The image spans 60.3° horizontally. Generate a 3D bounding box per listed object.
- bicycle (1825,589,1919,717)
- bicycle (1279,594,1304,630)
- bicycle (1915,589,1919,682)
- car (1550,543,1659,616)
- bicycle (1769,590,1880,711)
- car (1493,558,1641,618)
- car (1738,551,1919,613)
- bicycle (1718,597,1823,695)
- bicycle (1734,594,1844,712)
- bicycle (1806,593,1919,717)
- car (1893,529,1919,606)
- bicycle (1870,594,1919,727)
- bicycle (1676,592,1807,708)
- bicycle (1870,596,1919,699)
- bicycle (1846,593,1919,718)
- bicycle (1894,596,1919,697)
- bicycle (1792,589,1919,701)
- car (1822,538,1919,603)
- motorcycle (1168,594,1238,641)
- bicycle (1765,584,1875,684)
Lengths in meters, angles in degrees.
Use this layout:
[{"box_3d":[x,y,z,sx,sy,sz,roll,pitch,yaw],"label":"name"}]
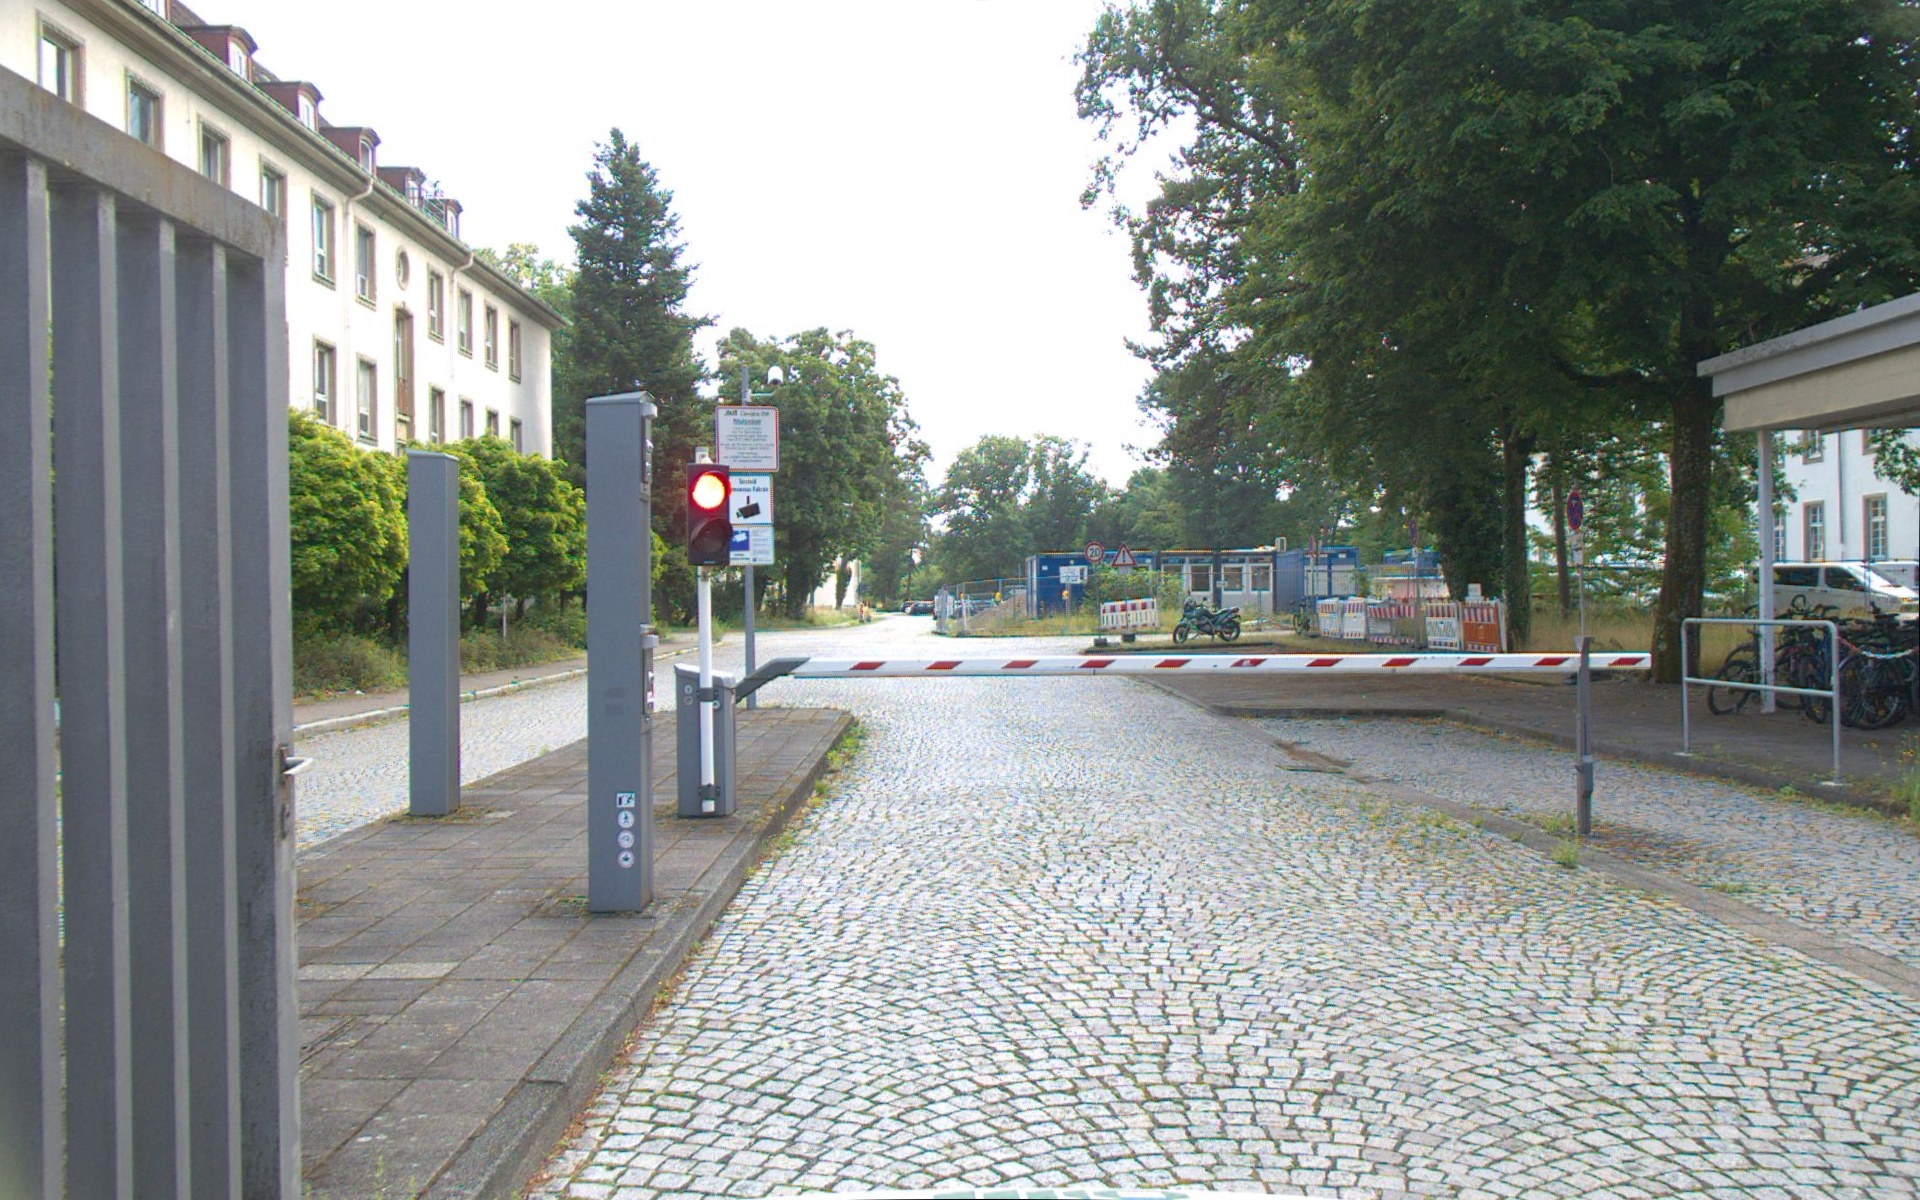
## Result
[{"box_3d":[9.297,0.491,15.934,1.766,1.191,0.358,-2,-2,-7],"label":"bicycle"},{"box_3d":[9.915,0.371,49.546,0.325,1.025,1.725,-2,-2,-1],"label":"bicycle"},{"box_3d":[9.449,0.469,14.829,1.775,1.191,0.494,-1,-2,-22],"label":"bicycle"},{"box_3d":[22.944,-0.674,59.109,1.952,2.466,5.358,-1,-1,2],"label":"car"},{"box_3d":[8.870,0.510,16.954,1.366,1.191,0.354,0,-3,-34],"label":"bicycle"},{"box_3d":[19.933,-0.392,54.428,4.133,1.852,2.000,-1,-1,1],"label":"car"},{"box_3d":[25.696,-0.500,48.732,1.971,1.679,4.794,-1,-1,-28],"label":"car"},{"box_3d":[10.192,0.554,20.842,0.494,1.105,1.585,-2,3,-2],"label":"bicycle"},{"box_3d":[8.684,0.541,17.311,1.366,1.191,0.354,0,-3,-34],"label":"bicycle"},{"box_3d":[9.068,0.540,16.609,1.366,1.191,0.354,0,-3,-34],"label":"bicycle"},{"box_3d":[31.440,-1.065,49.284,1.974,2.349,6.133,-1,-1,-31],"label":"car"},{"box_3d":[9.309,0.539,15.342,1.719,1.191,0.494,-1,-2,-22],"label":"bicycle"},{"box_3d":[8.451,0.534,17.889,1.359,1.191,0.431,-2,-2,-23],"label":"bicycle"},{"box_3d":[10.354,0.499,17.231,0.364,1.085,1.907,-1,0,-11],"label":"bicycle"},{"box_3d":[9.522,0.535,16.357,1.353,1.191,0.358,-1,-2,-10],"label":"bicycle"},{"box_3d":[10.689,0.480,17.364,0.364,1.100,1.893,-1,-2,-11],"label":"bicycle"},{"box_3d":[9.752,0.481,17.470,0.439,1.138,1.784,-1,-2,-26],"label":"bicycle"},{"box_3d":[28.434,-0.889,49.070,1.971,1.820,4.794,-1,-1,-28],"label":"car"},{"box_3d":[7.044,0.504,47.932,1.917,1.215,0.461,-3,5,-3],"label":"motorcycle"},{"box_3d":[10.775,0.435,20.775,0.494,1.191,1.554,-2,-2,-2],"label":"bicycle"}]
